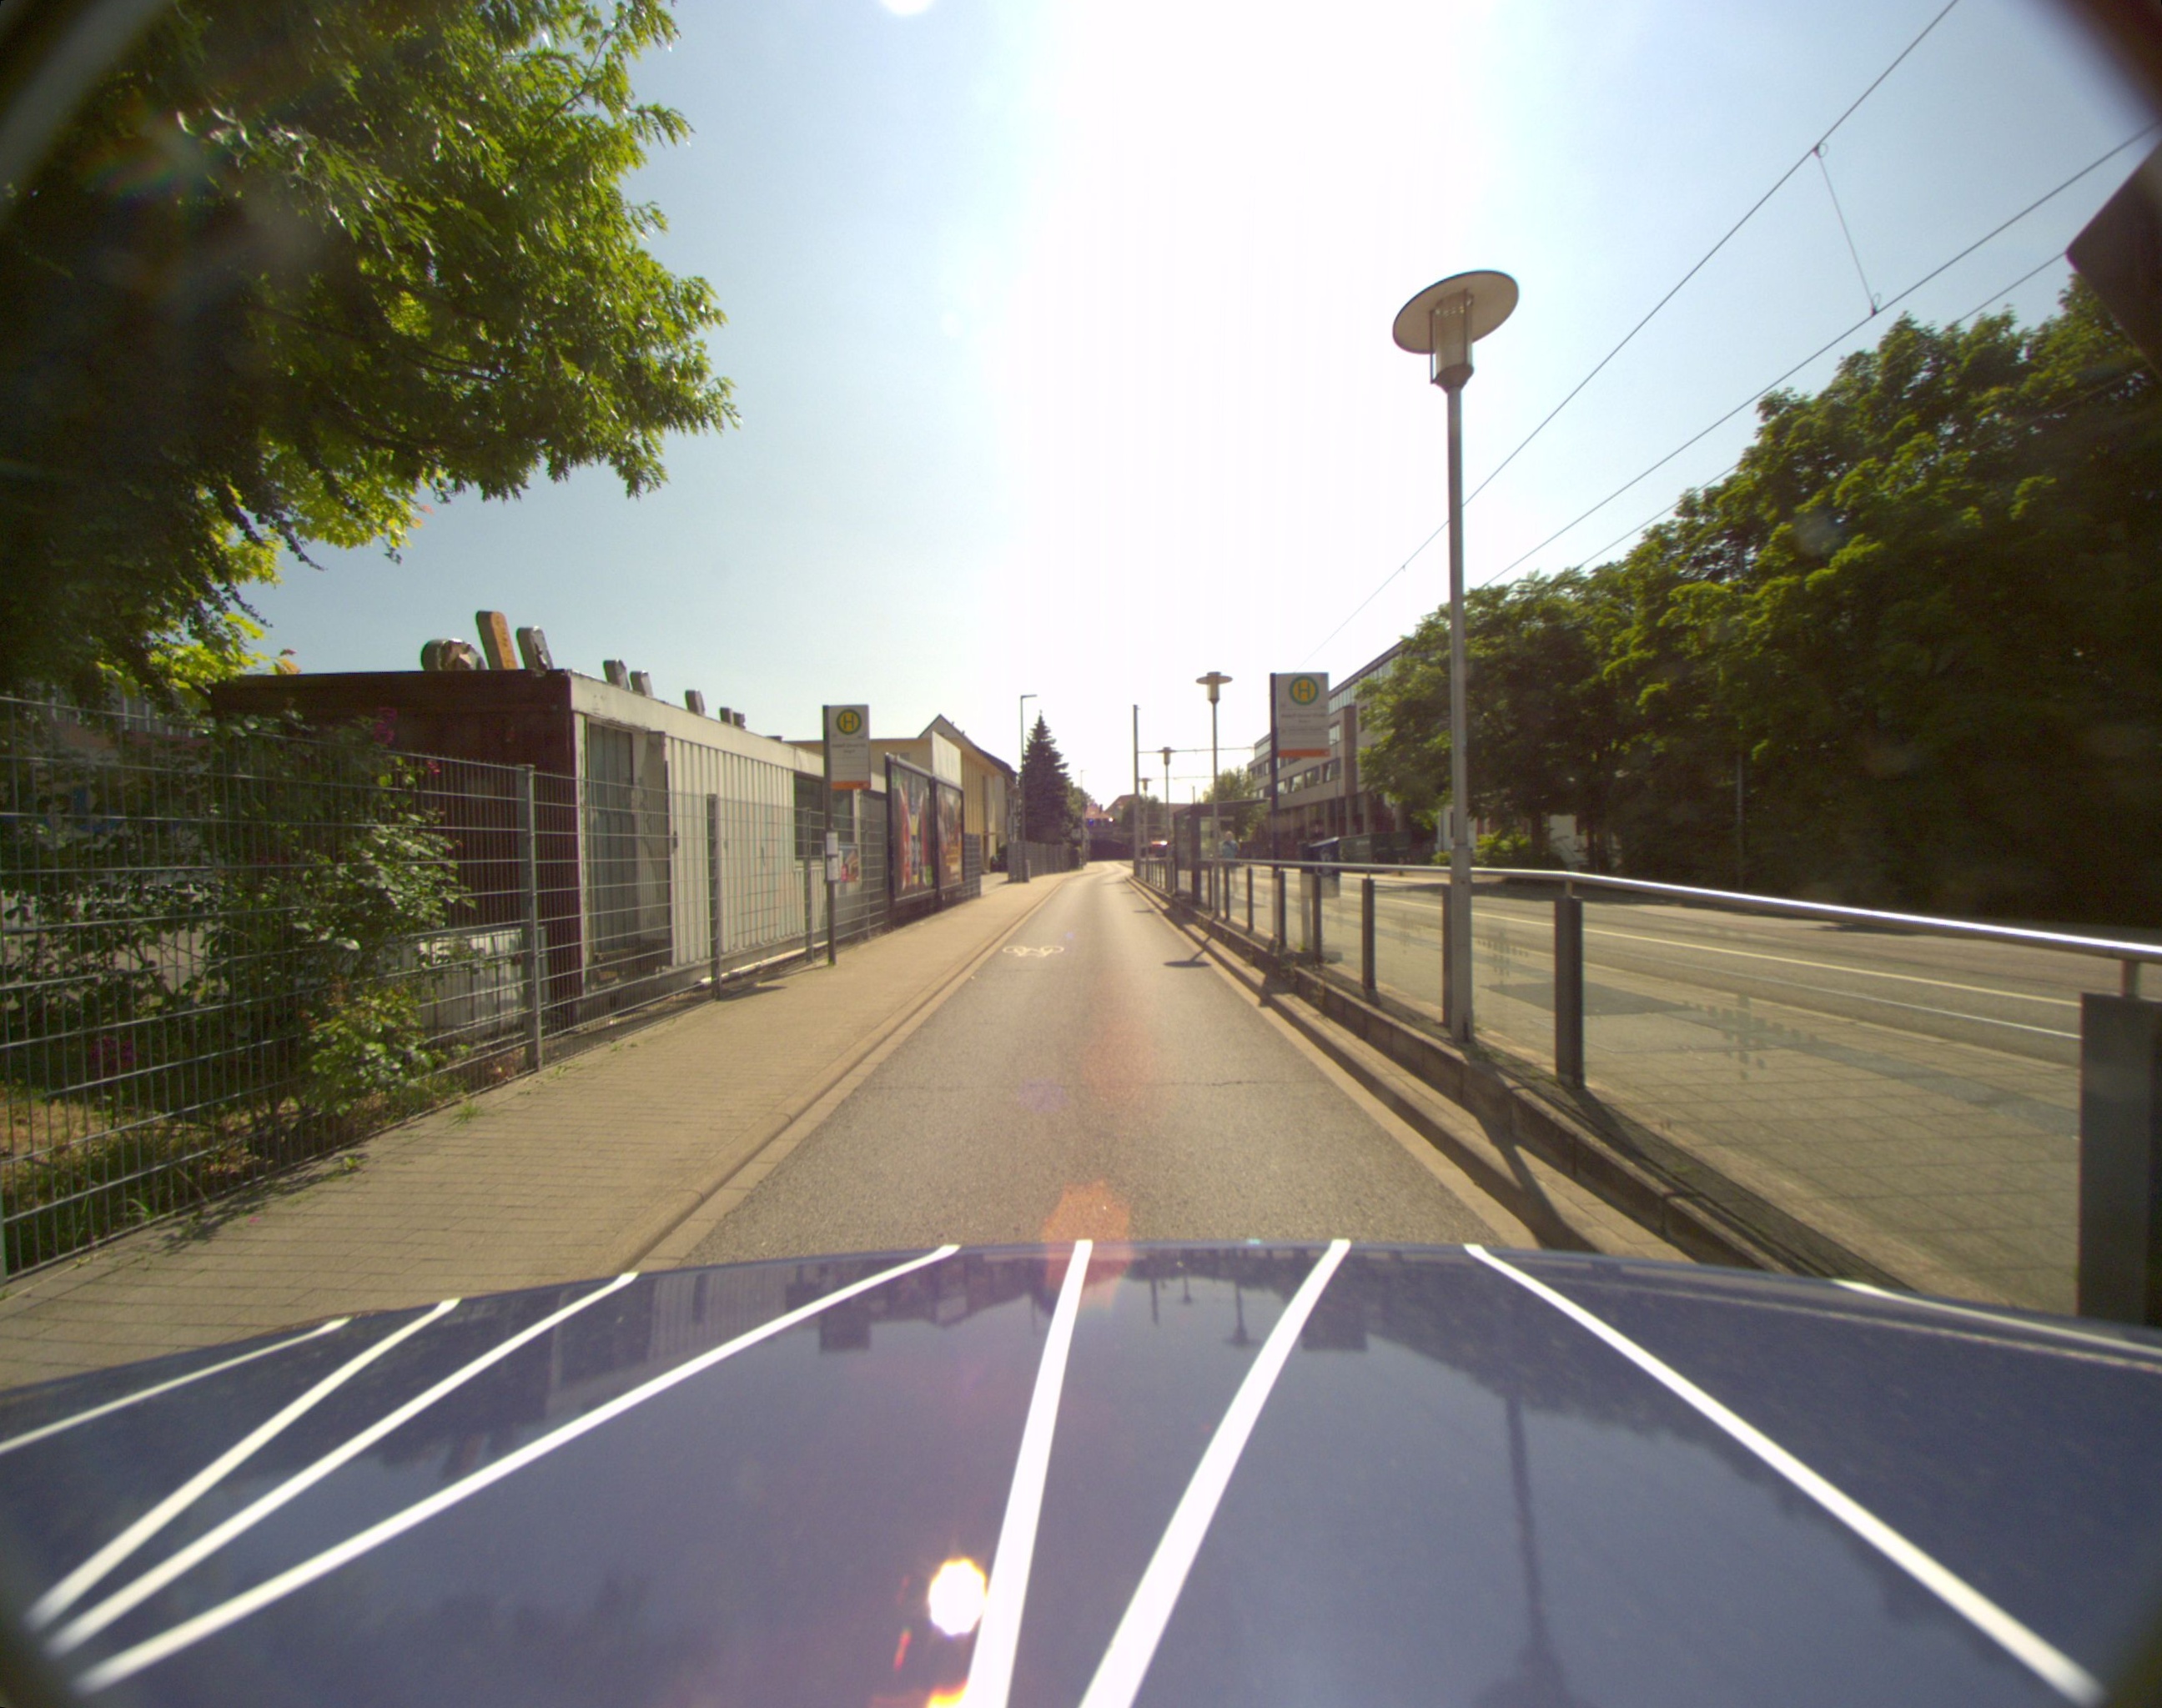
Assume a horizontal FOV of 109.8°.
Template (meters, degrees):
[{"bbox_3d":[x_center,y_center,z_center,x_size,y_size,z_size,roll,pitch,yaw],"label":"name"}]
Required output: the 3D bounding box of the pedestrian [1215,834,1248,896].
[{"bbox_3d":[4.331,0.314,21.949,0.725,1.714,0.944,-2,0,1],"label":"pedestrian"}]

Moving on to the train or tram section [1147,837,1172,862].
[{"bbox_3d":[11.584,-0.611,113.441,2.680,3.464,12.328,-1,0,1],"label":"train or tram section"}]

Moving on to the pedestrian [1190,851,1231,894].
[{"bbox_3d":[3.416,0.475,20.159,0.945,1.093,0.726,-2,0,1],"label":"pedestrian"}]

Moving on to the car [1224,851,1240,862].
[{"bbox_3d":[21.075,0.347,106.153,1.997,1.613,4.003,0,0,8],"label":"car"}]

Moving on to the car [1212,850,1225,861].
[{"bbox_3d":[20.524,0.263,113.682,1.870,1.608,4.003,0,0,8],"label":"car"}]

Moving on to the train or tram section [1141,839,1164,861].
[{"bbox_3d":[11.841,-0.699,126.305,2.680,3.464,13.390,-1,0,1],"label":"train or tram section"}]

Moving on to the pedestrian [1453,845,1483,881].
[{"bbox_3d":[16.725,0.392,32.840,0.873,1.518,0.846,-1,1,0],"label":"pedestrian"}]
